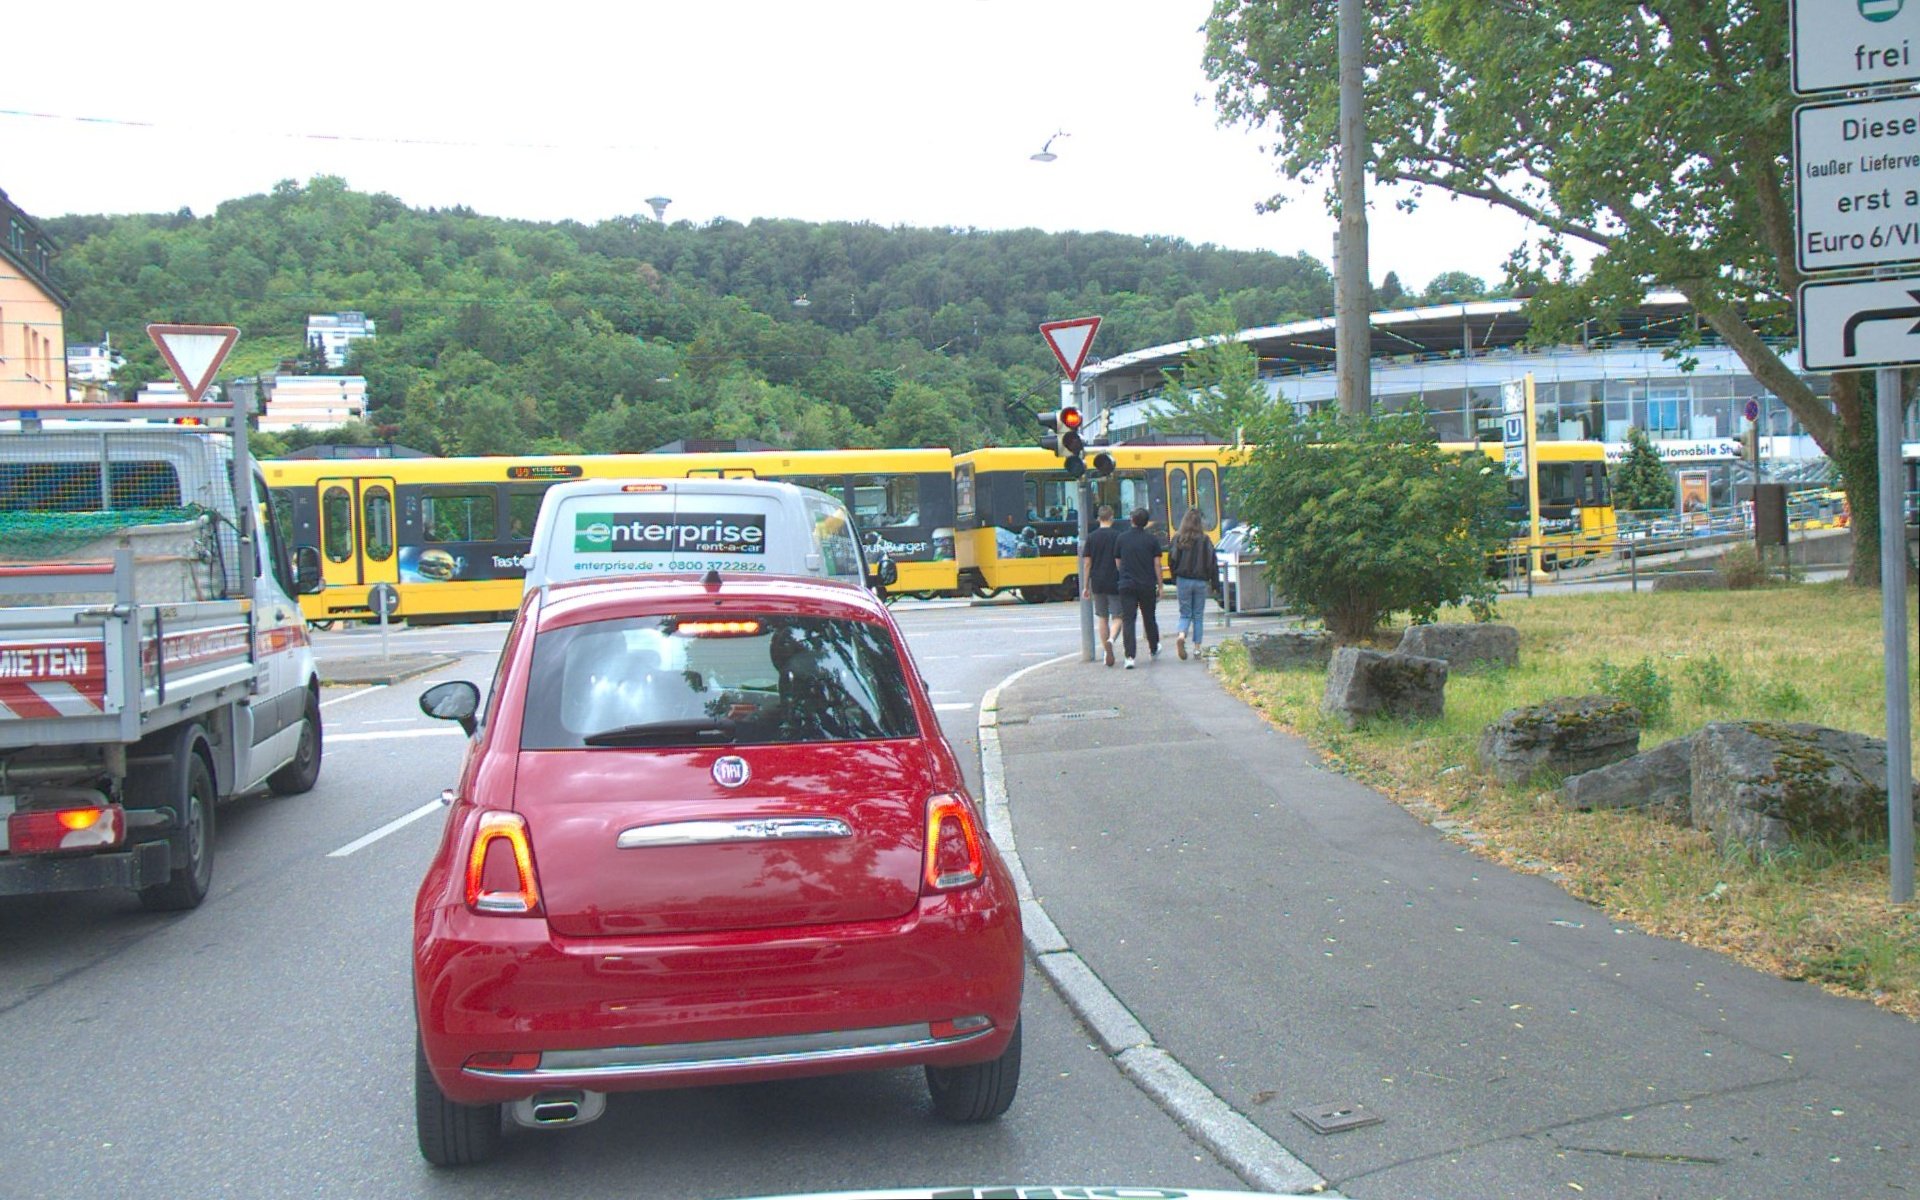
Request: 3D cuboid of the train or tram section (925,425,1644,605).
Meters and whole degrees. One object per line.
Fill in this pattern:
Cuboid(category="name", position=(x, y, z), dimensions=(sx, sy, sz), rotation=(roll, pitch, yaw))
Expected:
Cuboid(category="train or tram section", position=(8.532, -2.250, 41.085), dimensions=(18.851, 3.729, 3.256), rotation=(-3, 2, -23))

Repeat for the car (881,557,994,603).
Cuboid(category="car", position=(-0.829, -0.753, 61.295), dimensions=(3.787, 1.526, 1.777), rotation=(-2, 1, 16))

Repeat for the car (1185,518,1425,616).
Cuboid(category="car", position=(6.401, -0.631, 30.677), dimensions=(4.059, 1.611, 1.789), rotation=(-3, 2, -24))

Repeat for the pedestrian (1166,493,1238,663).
Cuboid(category="pedestrian", position=(2.628, -0.245, 17.962), dimensions=(0.678, 1.770, 0.789), rotation=(-3, 1, 8))

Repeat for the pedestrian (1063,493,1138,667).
Cuboid(category="pedestrian", position=(1.592, -0.232, 18.630), dimensions=(0.678, 1.889, 0.789), rotation=(-2, 1, 11))

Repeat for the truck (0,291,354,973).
Cuboid(category="truck", position=(-4.870, 0.120, 8.669), dimensions=(2.381, 2.439, 6.008), rotation=(-3, 1, -14))

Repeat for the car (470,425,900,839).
Cuboid(category="car", position=(-1.571, 0.114, 11.311), dimensions=(1.948, 2.143, 4.763), rotation=(-3, 1, 1))

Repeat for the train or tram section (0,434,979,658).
Cuboid(category="train or tram section", position=(-9.028, -1.299, 34.228), dimensions=(18.827, 3.729, 3.260), rotation=(-3, 2, -20))

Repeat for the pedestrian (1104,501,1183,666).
Cuboid(category="pedestrian", position=(2.015, -0.187, 18.094), dimensions=(0.678, 1.744, 0.789), rotation=(-2, 1, 15))

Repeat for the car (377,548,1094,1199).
Cuboid(category="car", position=(-0.817, 0.614, 5.512), dimensions=(1.610, 1.482, 3.421), rotation=(-2, 1, -12))
